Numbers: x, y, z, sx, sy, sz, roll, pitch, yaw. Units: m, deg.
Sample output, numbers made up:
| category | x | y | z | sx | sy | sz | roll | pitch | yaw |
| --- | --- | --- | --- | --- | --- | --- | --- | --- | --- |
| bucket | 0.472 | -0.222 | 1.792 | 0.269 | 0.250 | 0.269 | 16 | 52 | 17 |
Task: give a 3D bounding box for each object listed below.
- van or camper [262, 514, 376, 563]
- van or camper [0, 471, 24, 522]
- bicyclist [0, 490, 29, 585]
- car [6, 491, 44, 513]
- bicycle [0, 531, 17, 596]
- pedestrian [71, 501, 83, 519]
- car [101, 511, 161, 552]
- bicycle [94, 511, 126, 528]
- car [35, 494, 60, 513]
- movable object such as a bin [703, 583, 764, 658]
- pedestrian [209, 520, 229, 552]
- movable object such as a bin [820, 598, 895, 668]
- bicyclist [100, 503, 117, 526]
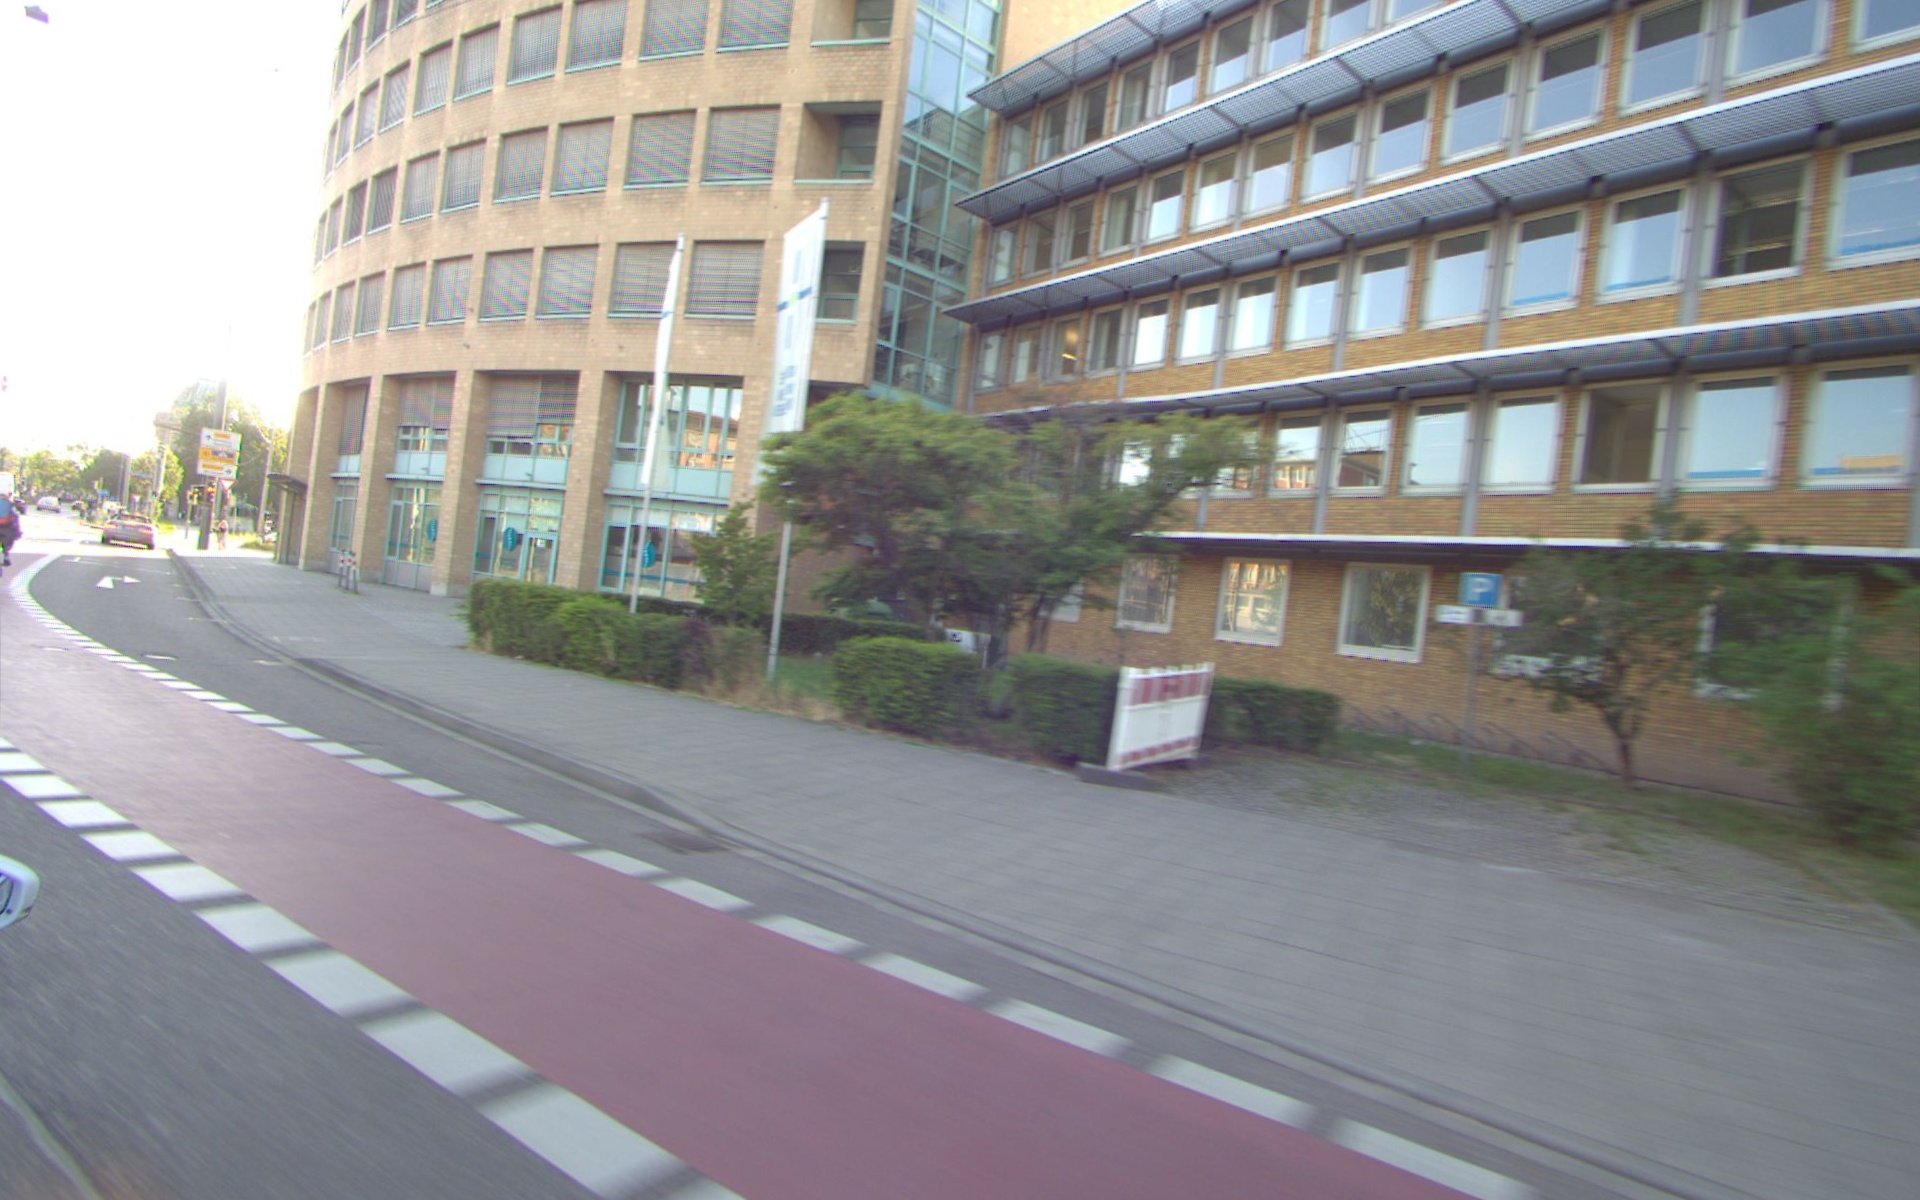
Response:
| category | x | y | z | sx | sy | sz | roll | pitch | yaw |
| --- | --- | --- | --- | --- | --- | --- | --- | --- | --- |
| van or camper | -49.182 | -4.696 | 77.263 | 7.009 | 2.707 | 2.570 | 8 | 0 | -38 |
| van or camper | -53.727 | -5.852 | 55.659 | 2.253 | 2.657 | 4.453 | 7 | 1 | -39 |
| bicyclist | -15.975 | -1.066 | 16.631 | 0.653 | 1.500 | 1.026 | 9 | -2 | -42 |
| car | -72.733 | -7.618 | 78.298 | 1.730 | 1.403 | 3.956 | 7 | 0 | -39 |
| bicycle | -16.141 | -0.648 | 16.736 | 0.513 | 0.965 | 1.754 | 9 | -1 | -42 |
| pedestrian | -79.652 | -8.118 | 90.779 | 0.613 | 1.494 | 0.792 | 7 | 1 | -35 |
| car | -36.060 | -2.991 | 43.756 | 1.777 | 1.370 | 4.218 | 9 | -1 | -40 |
| bicycle | -61.860 | -5.855 | 73.225 | 1.722 | 0.981 | 0.602 | 9 | 0 | -41 |
| car | -95.680 | -10.096 | 105.460 | 1.789 | 1.585 | 3.950 | 7 | 1 | -43 |
| movable object such as a bin | -4.970 | 0.428 | 21.986 | 0.961 | 1.455 | 1.338 | 7 | 1 | -21 |
| pedestrian | -40.072 | -3.463 | 54.380 | 0.674 | 1.589 | 0.790 | 7 | 2 | -42 |
| movable object such as a bin | -2.393 | 0.767 | 23.516 | 0.911 | 1.442 | 1.338 | 9 | 1 | 43 |
| bicyclist | -61.885 | -6.225 | 73.149 | 0.794 | 1.591 | 0.655 | 7 | 1 | -40 |
